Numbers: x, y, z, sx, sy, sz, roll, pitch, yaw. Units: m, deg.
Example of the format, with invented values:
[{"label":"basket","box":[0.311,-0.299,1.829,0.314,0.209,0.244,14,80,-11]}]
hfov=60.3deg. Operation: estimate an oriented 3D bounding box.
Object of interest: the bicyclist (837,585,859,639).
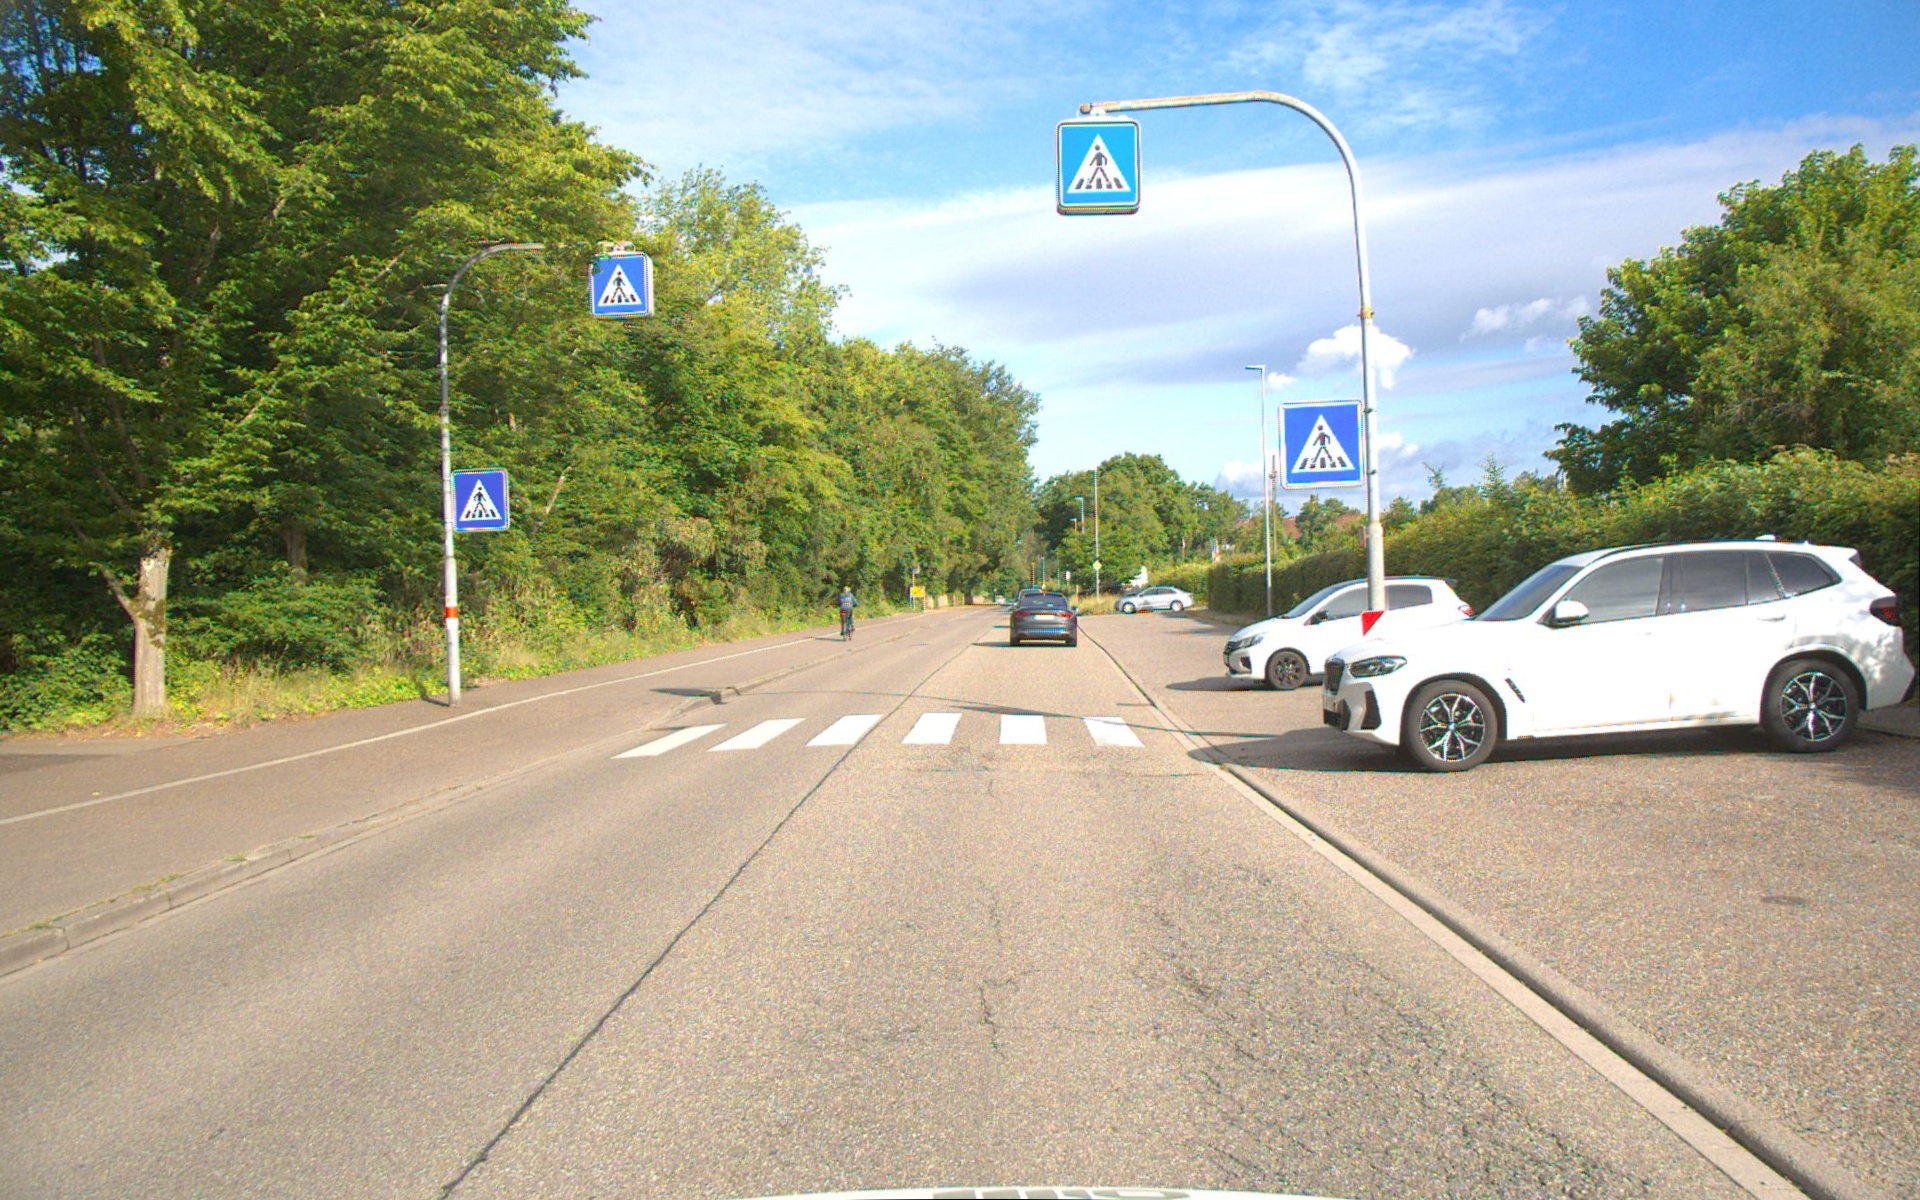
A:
[{"label":"bicyclist","box":[-3.552,0.366,52.505,0.596,1.706,0.884,0,0,3]}]

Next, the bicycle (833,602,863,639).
[{"label":"bicycle","box":[-3.551,0.648,52.532,0.648,1.116,2.350,0,0,3]}]

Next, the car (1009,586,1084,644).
[{"label":"car","box":[2.378,0.363,44.860,1.925,1.459,4.338,-1,1,4]}]

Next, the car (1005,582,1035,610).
[{"label":"car","box":[3.078,-0.218,85.570,1.464,1.390,3.263,-2,1,1]}]

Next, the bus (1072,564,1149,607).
[{"label":"bus","box":[10.892,-1.058,119.637,5.256,2.794,2.068,-3,1,0]}]

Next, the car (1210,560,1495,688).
[{"label":"car","box":[5.797,0.330,24.743,3.779,1.515,1.693,-5,1,1]}]

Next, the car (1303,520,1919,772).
[{"label":"car","box":[5.305,0.365,13.805,4.492,1.729,1.764,-3,0,3]}]

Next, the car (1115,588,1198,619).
[{"label":"car","box":[10.639,0.203,89.421,4.269,1.468,1.934,-3,0,9]}]
